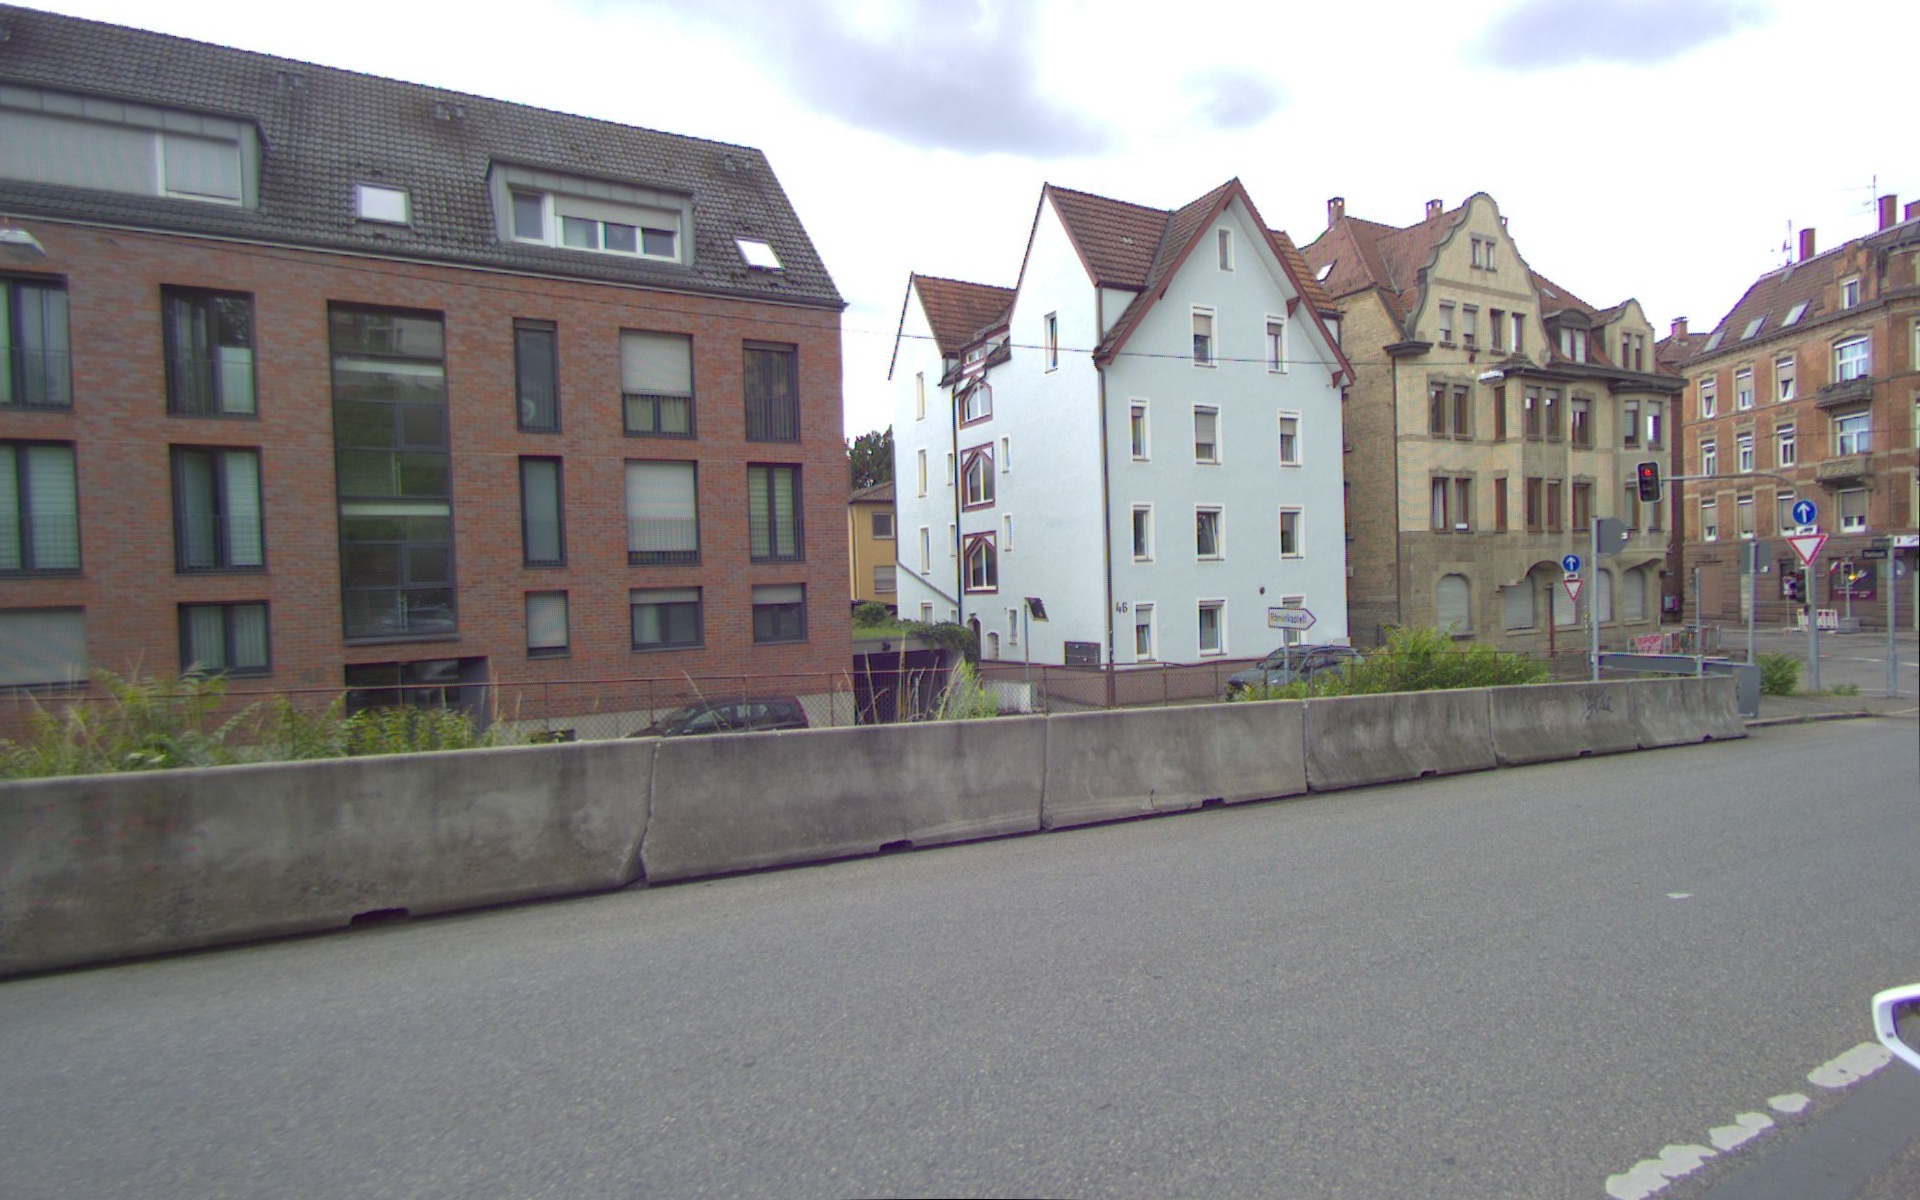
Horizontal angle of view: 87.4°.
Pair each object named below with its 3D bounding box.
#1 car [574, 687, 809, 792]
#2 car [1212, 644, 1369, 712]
[{"bbox_3d":[-5.239,2.636,19.670,4.163,1.629,1.787,0,-3,-29],"label":"car"},{"bbox_3d":[8.943,2.062,27.144,3.950,1.629,1.787,0,-3,-29],"label":"car"}]
